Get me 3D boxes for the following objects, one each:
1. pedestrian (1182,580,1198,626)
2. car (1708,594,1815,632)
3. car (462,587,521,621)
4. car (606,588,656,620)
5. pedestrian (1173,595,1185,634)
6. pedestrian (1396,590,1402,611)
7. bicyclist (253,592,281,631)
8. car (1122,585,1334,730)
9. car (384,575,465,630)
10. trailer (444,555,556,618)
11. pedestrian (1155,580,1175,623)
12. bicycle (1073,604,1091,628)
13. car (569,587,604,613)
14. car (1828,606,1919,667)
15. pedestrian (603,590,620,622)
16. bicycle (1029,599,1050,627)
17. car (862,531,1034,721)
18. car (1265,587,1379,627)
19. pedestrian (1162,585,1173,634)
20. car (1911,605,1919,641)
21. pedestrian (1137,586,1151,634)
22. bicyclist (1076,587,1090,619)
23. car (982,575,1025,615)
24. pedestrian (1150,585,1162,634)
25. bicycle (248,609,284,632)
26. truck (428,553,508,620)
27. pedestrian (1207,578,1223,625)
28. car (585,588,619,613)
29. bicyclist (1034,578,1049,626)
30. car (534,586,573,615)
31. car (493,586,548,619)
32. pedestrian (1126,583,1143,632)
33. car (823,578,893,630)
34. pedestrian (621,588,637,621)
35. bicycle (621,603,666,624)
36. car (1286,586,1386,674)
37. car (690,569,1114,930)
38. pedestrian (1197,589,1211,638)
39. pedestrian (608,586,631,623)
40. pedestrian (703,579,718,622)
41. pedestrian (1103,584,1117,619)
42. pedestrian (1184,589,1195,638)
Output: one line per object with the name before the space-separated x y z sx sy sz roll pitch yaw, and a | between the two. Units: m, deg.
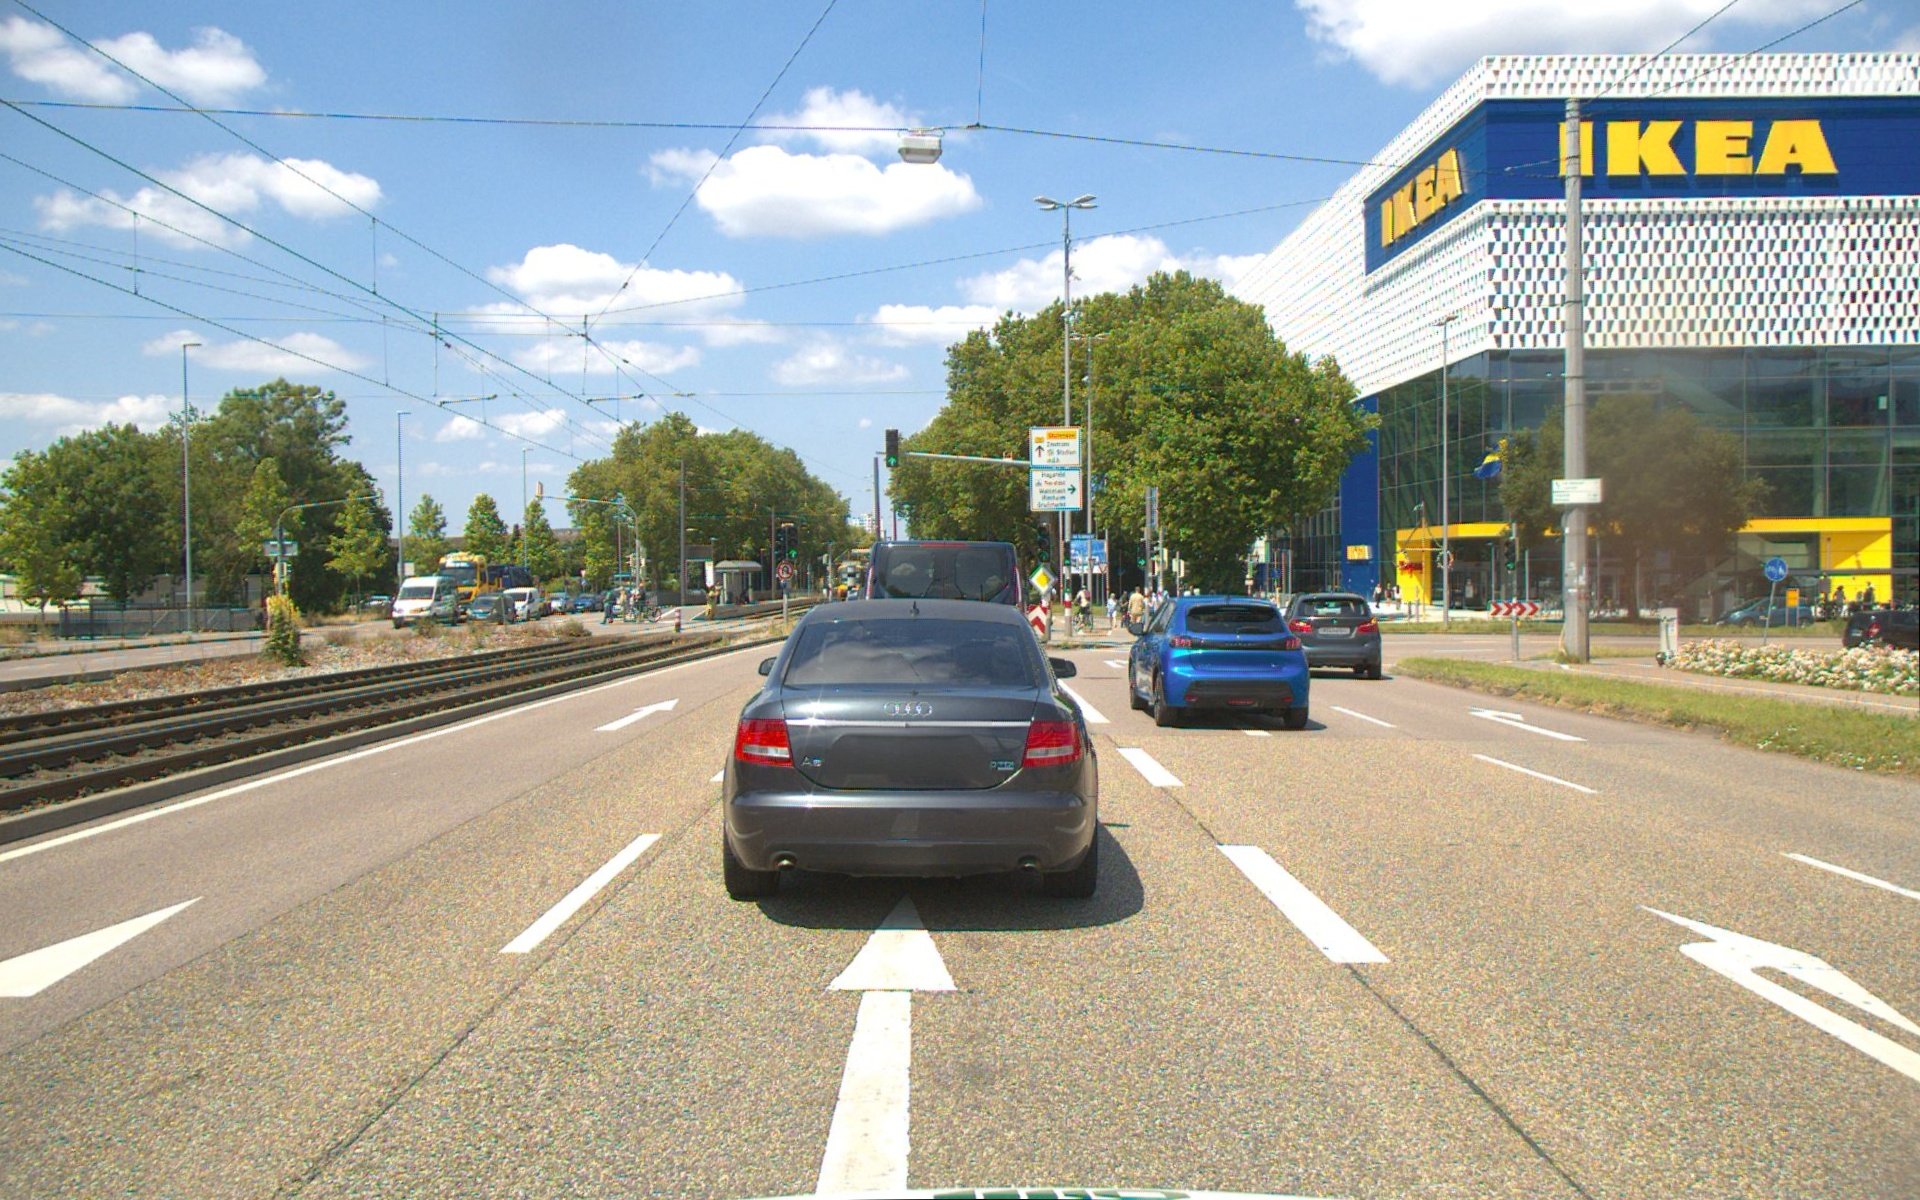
pedestrian | 8.359 0.110 60.106 0.493 1.663 0.449 1 0 2
car | 35.080 0.544 72.462 3.710 1.512 2.001 2 1 3
car | -24.097 0.180 85.286 1.785 1.699 4.461 1 1 -1
car | -18.614 0.208 93.658 1.784 1.699 4.462 1 1 2
pedestrian | 7.469 0.499 56.354 0.365 1.326 0.365 1 0 2
pedestrian | 27.908 0.028 105.200 0.283 1.366 0.266 0 0 -1
bicyclist | -32.167 0.539 76.789 1.097 1.805 0.340 1 0 -6
car | 3.057 0.599 19.636 1.800 1.480 4.000 2 1 -1
car | -27.599 0.073 85.444 2.198 2.634 6.233 -2 1 -2
trailer | -28.124 -0.804 102.027 2.711 3.580 15.875 0 0 -1
pedestrian | 8.947 0.074 72.159 0.671 1.878 0.706 1 0 25
bicycle | 4.637 0.610 62.797 0.538 0.892 1.697 1 0 -1
car | -27.802 0.010 123.240 1.781 1.916 3.999 0 0 -1
car | 32.232 1.228 56.575 4.099 2.049 1.998 0 0 -4
pedestrian | -16.410 0.274 77.878 0.671 1.468 0.572 0 0 -4
bicycle | 3.048 0.477 63.577 0.673 1.011 2.751 1 0 0
car | -0.158 0.270 19.360 1.799 1.984 3.999 0 0 -1
car | 15.120 0.269 69.260 4.403 1.512 2.001 2 1 3
pedestrian | 7.065 0.319 56.411 0.332 1.663 0.377 1 0 2
car | 42.653 1.026 69.340 4.403 1.512 2.001 2 1 3
pedestrian | 6.331 0.346 56.977 0.435 1.663 0.430 1 0 2
bicyclist | 4.651 0.107 62.547 0.461 1.214 0.791 0 0 1
car | 2.651 -0.316 102.282 1.956 2.349 4.767 0 0 -7
pedestrian | 6.690 0.333 56.432 0.373 1.663 0.377 1 0 2
bicycle | -32.206 0.950 76.747 1.461 1.004 0.485 1 0 -5
truck | -28.001 -0.758 94.343 2.711 3.631 6.438 0 0 -1
pedestrian | 9.266 0.063 60.102 0.510 1.699 0.494 1 0 2
car | -27.796 0.001 128.585 1.781 1.916 3.999 0 0 -1
bicyclist | 3.111 0.072 63.014 0.518 1.820 1.088 0 0 0
car | -27.898 0.035 113.591 1.781 1.916 3.999 0 0 -1
car | -24.401 0.117 91.904 1.785 1.699 4.462 1 1 1
pedestrian | 6.032 0.262 57.098 0.542 1.663 0.433 1 0 2
car | -3.133 0.083 51.584 1.953 1.512 4.000 2 1 -1
pedestrian | -15.787 0.222 78.999 0.671 1.592 0.572 0 0 -4
bicycle | -14.736 0.635 77.013 2.019 0.941 0.751 0 0 -11
car | 7.104 0.513 31.369 1.723 1.553 4.103 0 0 12
car | -0.259 0.602 8.955 1.756 1.480 4.000 -1 1 -1
pedestrian | 8.312 0.452 56.344 0.389 1.663 0.371 1 0 2
pedestrian | -16.589 0.215 80.634 0.806 1.750 0.775 1 0 21
pedestrian | -12.079 0.029 80.064 0.672 2.049 0.572 0 0 -5
pedestrian | 6.692 0.075 73.796 0.483 1.546 0.707 1 0 17
pedestrian | 7.830 0.447 56.341 0.314 1.663 0.377 1 0 2
